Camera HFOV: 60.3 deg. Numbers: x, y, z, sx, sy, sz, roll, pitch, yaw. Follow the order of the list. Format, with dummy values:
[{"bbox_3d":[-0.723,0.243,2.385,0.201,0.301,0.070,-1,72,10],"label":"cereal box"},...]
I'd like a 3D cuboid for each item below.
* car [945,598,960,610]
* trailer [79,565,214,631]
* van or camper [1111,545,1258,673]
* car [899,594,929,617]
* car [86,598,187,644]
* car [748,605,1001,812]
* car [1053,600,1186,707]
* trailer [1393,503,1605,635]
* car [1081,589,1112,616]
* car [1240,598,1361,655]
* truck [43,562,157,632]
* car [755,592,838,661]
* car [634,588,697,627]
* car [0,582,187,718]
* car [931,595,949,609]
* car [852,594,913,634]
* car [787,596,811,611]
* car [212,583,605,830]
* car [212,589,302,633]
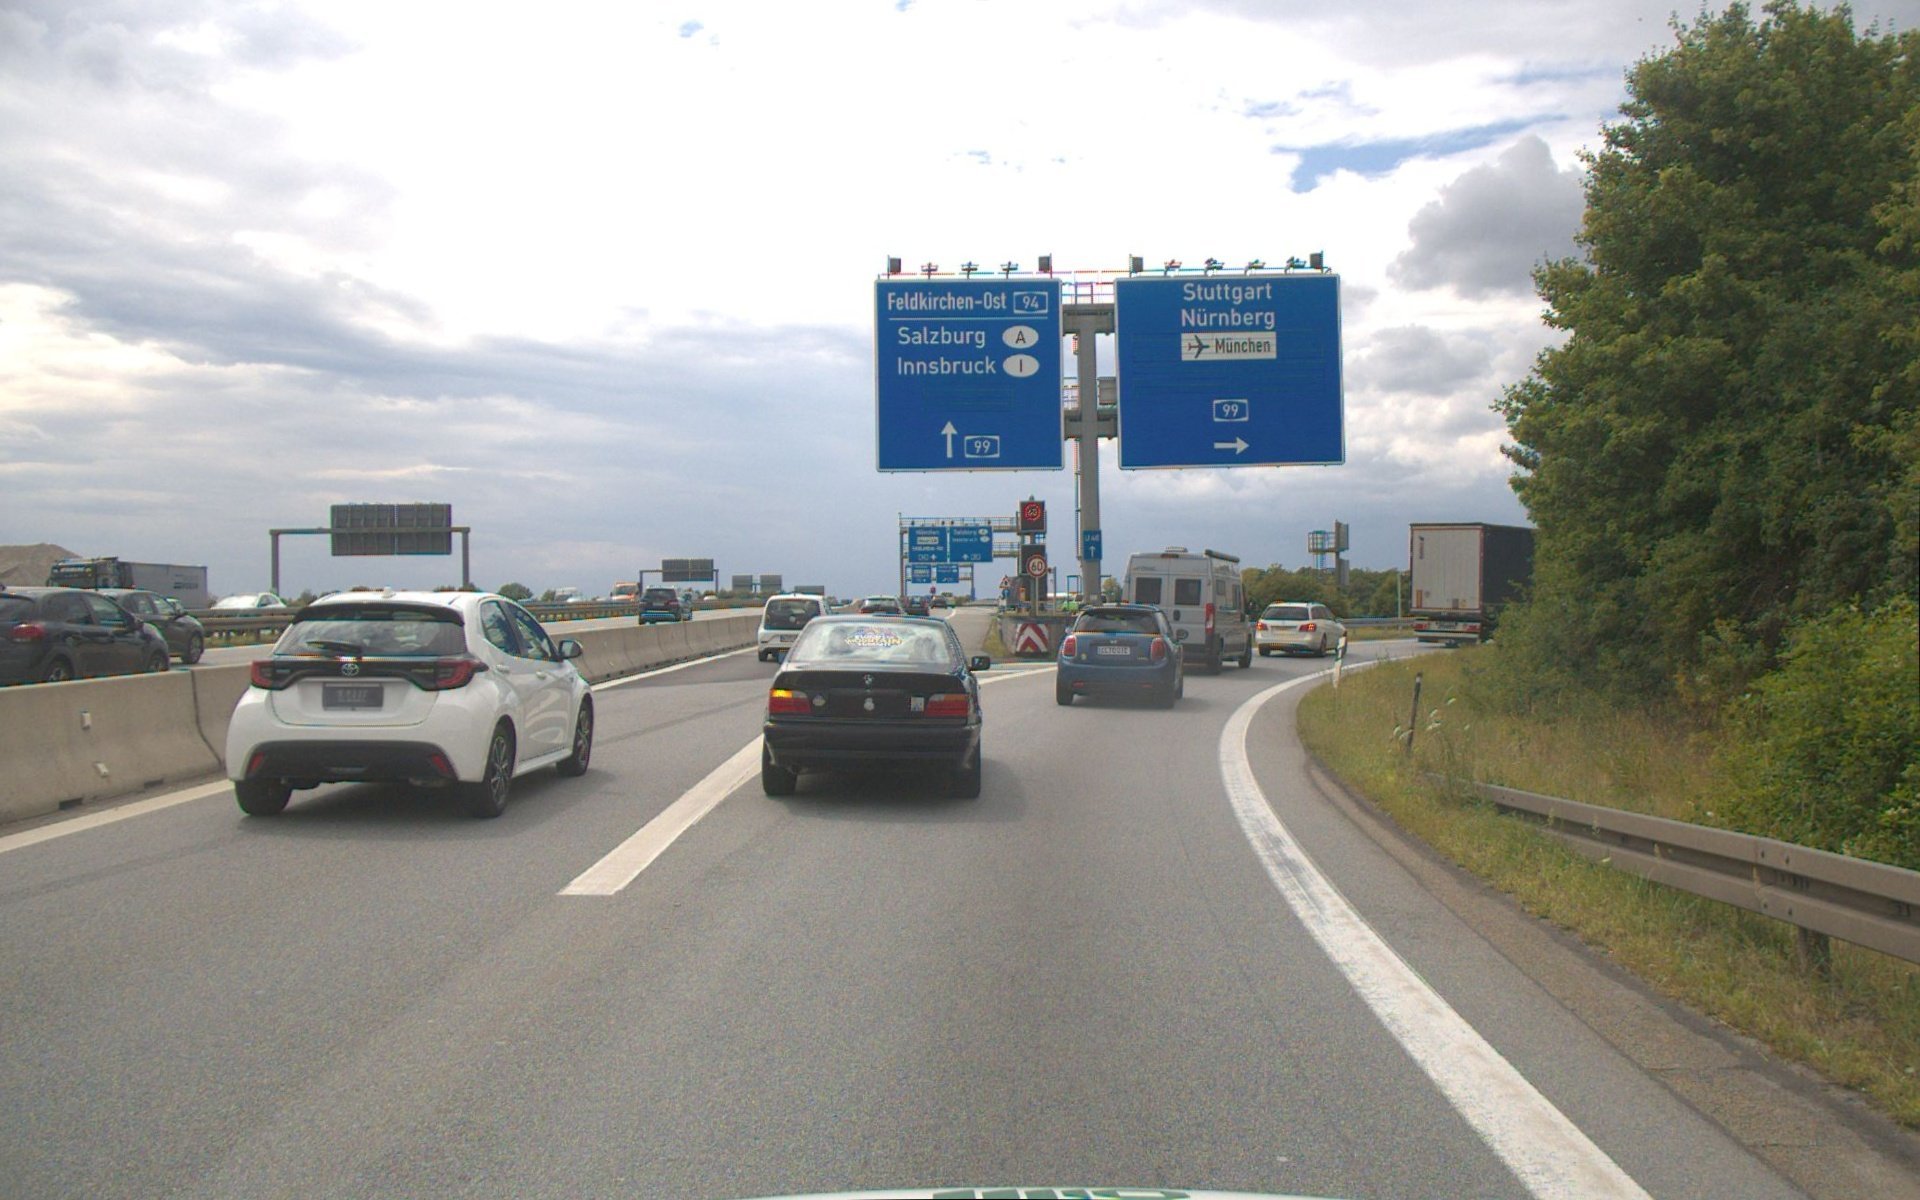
[{"bbox_3d":[-0.880,0.449,198.710,1.766,1.449,4.001,0,0,1],"label":"car"},{"bbox_3d":[-43.551,-0.128,88.958,3.135,3.326,9.814,0,0,-5],"label":"trailer"},{"bbox_3d":[5.130,0.173,36.952,2.245,2.613,6.164,0,0,17],"label":"van or camper"},{"bbox_3d":[-2.969,0.342,106.933,1.828,1.449,4.000,0,0,0],"label":"car"},{"bbox_3d":[-28.611,0.709,57.566,1.653,1.494,4.002,-1,0,-3],"label":"car"},{"bbox_3d":[-0.590,0.755,13.479,1.746,1.402,4.137,0,0,0],"label":"car"},{"bbox_3d":[2.452,0.739,24.751,1.692,1.444,3.669,1,0,10],"label":"car"},{"bbox_3d":[19.705,-0.998,59.600,3.276,4.266,12.978,0,0,37],"label":"trailer"},{"bbox_3d":[10.783,0.198,130.699,1.953,2.049,3.998,0,0,-2],"label":"car"},{"bbox_3d":[9.771,0.715,47.204,2.164,1.527,4.781,0,0,28],"label":"car"},{"bbox_3d":[-43.022,-0.145,82.916,3.088,3.388,5.616,0,0,-5],"label":"truck"},{"bbox_3d":[-3.692,0.574,37.877,1.553,1.510,3.535,0,0,0],"label":"car"},{"bbox_3d":[-13.133,0.320,74.004,1.953,1.713,4.866,0,0,0],"label":"car"},{"bbox_3d":[-11.561,0.568,20.920,1.738,1.557,3.999,0,0,-1],"label":"car"},{"bbox_3d":[-2.129,0.196,176.186,1.766,1.449,4.001,0,0,1],"label":"car"},{"bbox_3d":[-2.961,0.514,63.840,1.952,1.494,4.001,0,0,3],"label":"car"},{"bbox_3d":[-15.872,0.340,162.982,1.952,1.494,4.001,0,0,1],"label":"car"},{"bbox_3d":[-3.844,0.655,12.220,1.666,1.534,3.839,0,0,-1],"label":"car"},{"bbox_3d":[-24.931,0.371,58.785,1.653,1.494,4.002,1,0,-3],"label":"car"}]
